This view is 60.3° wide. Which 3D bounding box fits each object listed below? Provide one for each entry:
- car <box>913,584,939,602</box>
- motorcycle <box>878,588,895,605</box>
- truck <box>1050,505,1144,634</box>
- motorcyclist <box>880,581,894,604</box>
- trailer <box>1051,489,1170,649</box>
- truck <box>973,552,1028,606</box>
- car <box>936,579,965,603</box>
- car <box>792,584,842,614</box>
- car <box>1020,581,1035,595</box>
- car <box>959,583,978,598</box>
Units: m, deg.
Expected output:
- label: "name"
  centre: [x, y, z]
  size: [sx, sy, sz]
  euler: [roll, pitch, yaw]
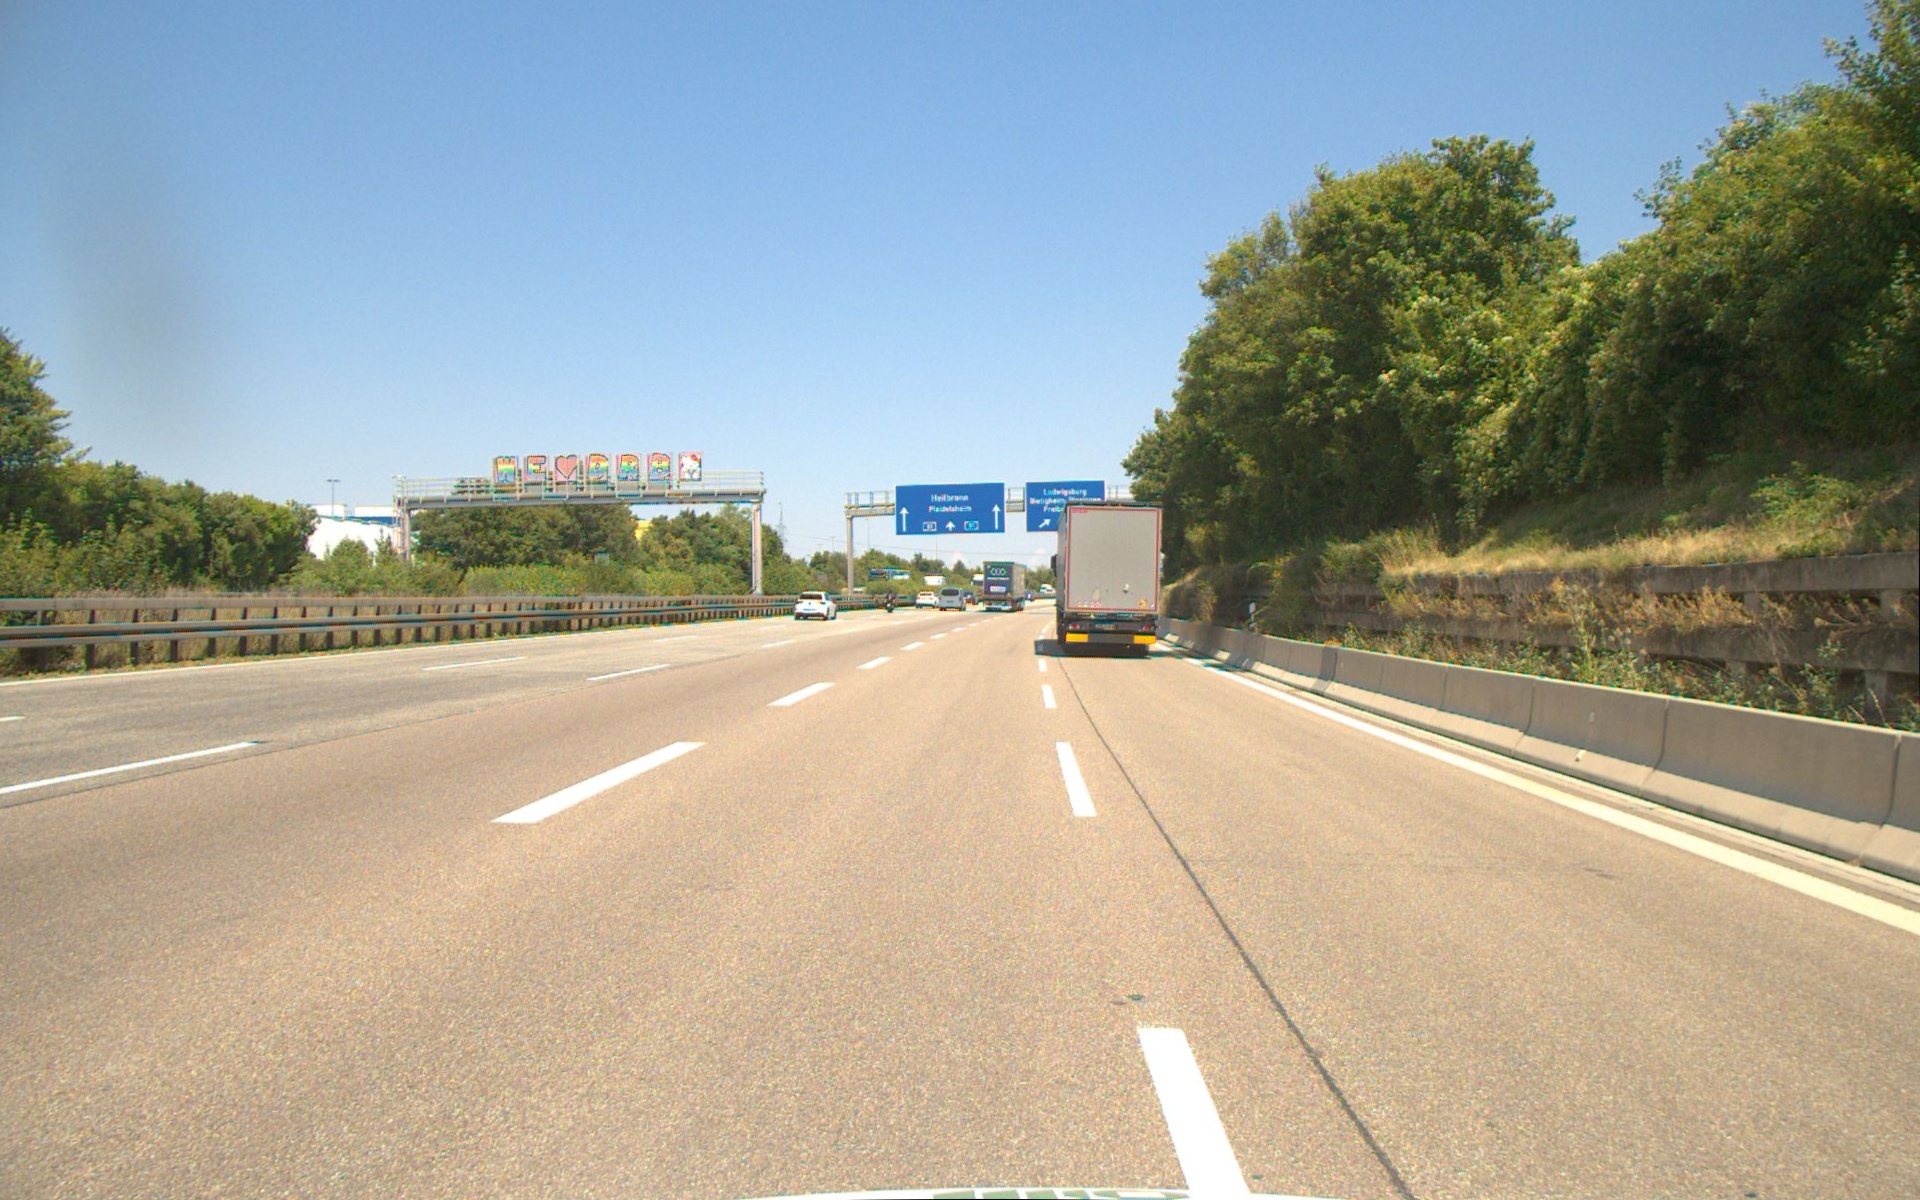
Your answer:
- label: "car"
  centre: [-3.030, -0.622, 148.248]
  size: [1.837, 1.466, 5.128]
  euler: [1, -1, 4]
- label: "motorcycle"
  centre: [-5.238, -0.246, 118.118]
  size: [0.893, 1.108, 2.850]
  euler: [0, -1, 3]
- label: "truck"
  centre: [4.535, -1.023, 56.115]
  size: [2.867, 4.085, 7.586]
  euler: [0, 1, 2]
- label: "motorcyclist"
  centre: [-5.243, -0.502, 118.128]
  size: [0.874, 1.625, 1.300]
  euler: [0, -1, 3]
- label: "trailer"
  centre: [4.195, -0.891, 48.485]
  size: [2.867, 4.085, 12.043]
  euler: [0, 1, 2]
- label: "truck"
  centre: [3.612, -1.797, 142.244]
  size: [3.668, 4.345, 14.505]
  euler: [1, 1, 5]
- label: "car"
  centre: [-0.786, -0.710, 135.902]
  size: [1.890, 1.884, 4.695]
  euler: [0, 0, 6]
- label: "car"
  centre: [-7.454, -0.048, 86.503]
  size: [1.744, 1.466, 4.672]
  euler: [1, 0, 5]
- label: "car"
  centre: [10.030, -1.758, 245.226]
  size: [1.837, 2.037, 5.128]
  euler: [1, -1, 5]
- label: "car"
  centre: [0.930, -1.058, 181.549]
  size: [1.720, 1.433, 5.041]
  euler: [0, -2, 4]
